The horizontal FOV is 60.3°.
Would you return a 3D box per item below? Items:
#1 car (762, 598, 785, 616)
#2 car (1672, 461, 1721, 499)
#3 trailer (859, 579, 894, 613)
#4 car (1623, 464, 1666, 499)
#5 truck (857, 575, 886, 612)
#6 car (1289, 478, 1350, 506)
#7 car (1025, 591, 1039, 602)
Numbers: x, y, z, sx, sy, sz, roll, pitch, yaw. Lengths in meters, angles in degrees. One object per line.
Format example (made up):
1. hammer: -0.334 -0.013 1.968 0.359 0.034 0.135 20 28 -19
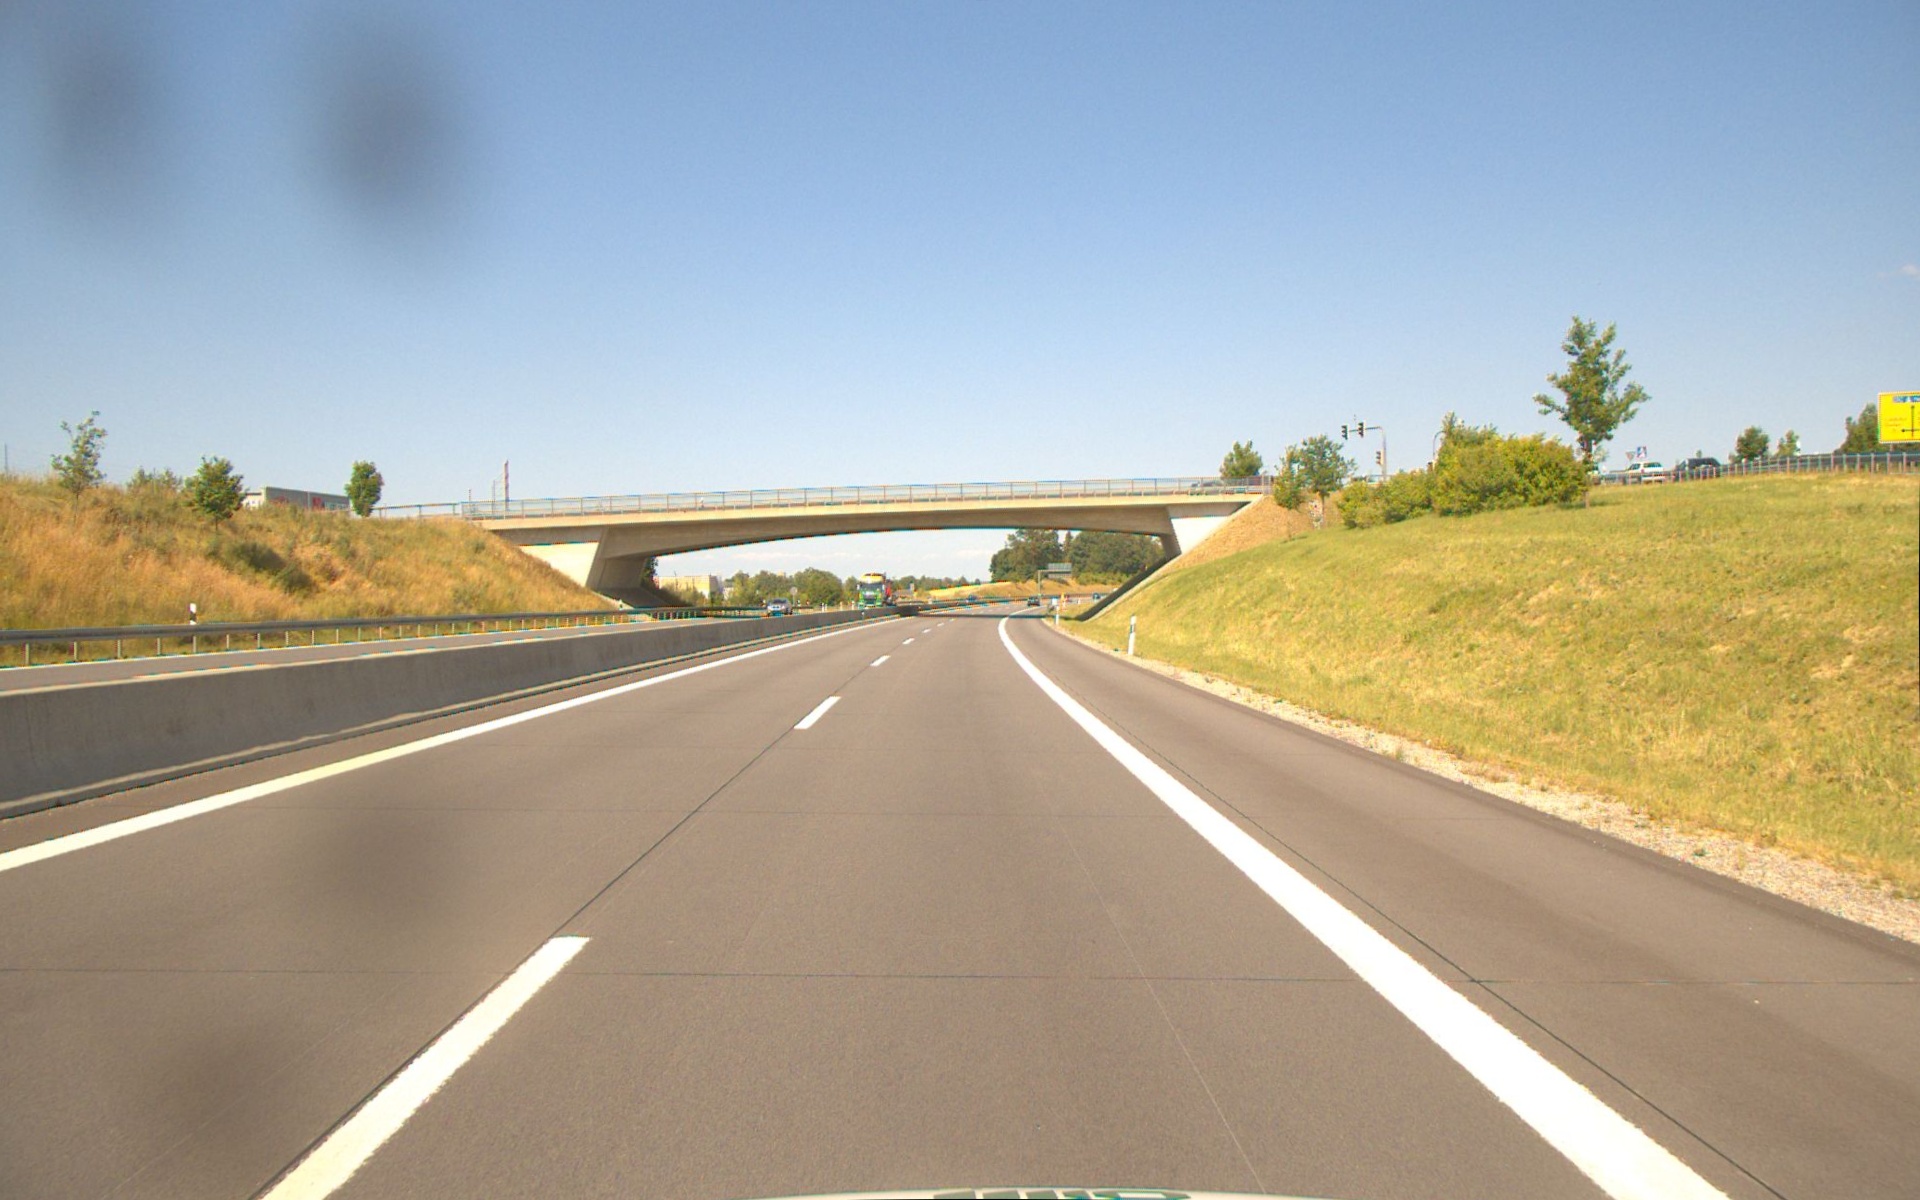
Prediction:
1. car: -16.014 0.590 142.210 1.825 1.557 4.564 -1 0 -5
2. car: 44.837 -7.271 100.704 1.951 2.049 4.004 -1 0 13
3. trailer: -9.342 -0.488 186.254 2.609 3.721 13.241 0 0 2
4. car: 45.072 -7.780 108.939 1.951 2.049 4.003 0 0 13
5. truck: -9.611 -0.683 179.541 2.678 3.899 5.832 0 0 2
6. car: 27.399 -8.246 126.159 4.045 1.914 1.997 -2 1 -8
7. car: 10.724 -0.512 247.111 1.952 1.445 4.001 -2 0 2
